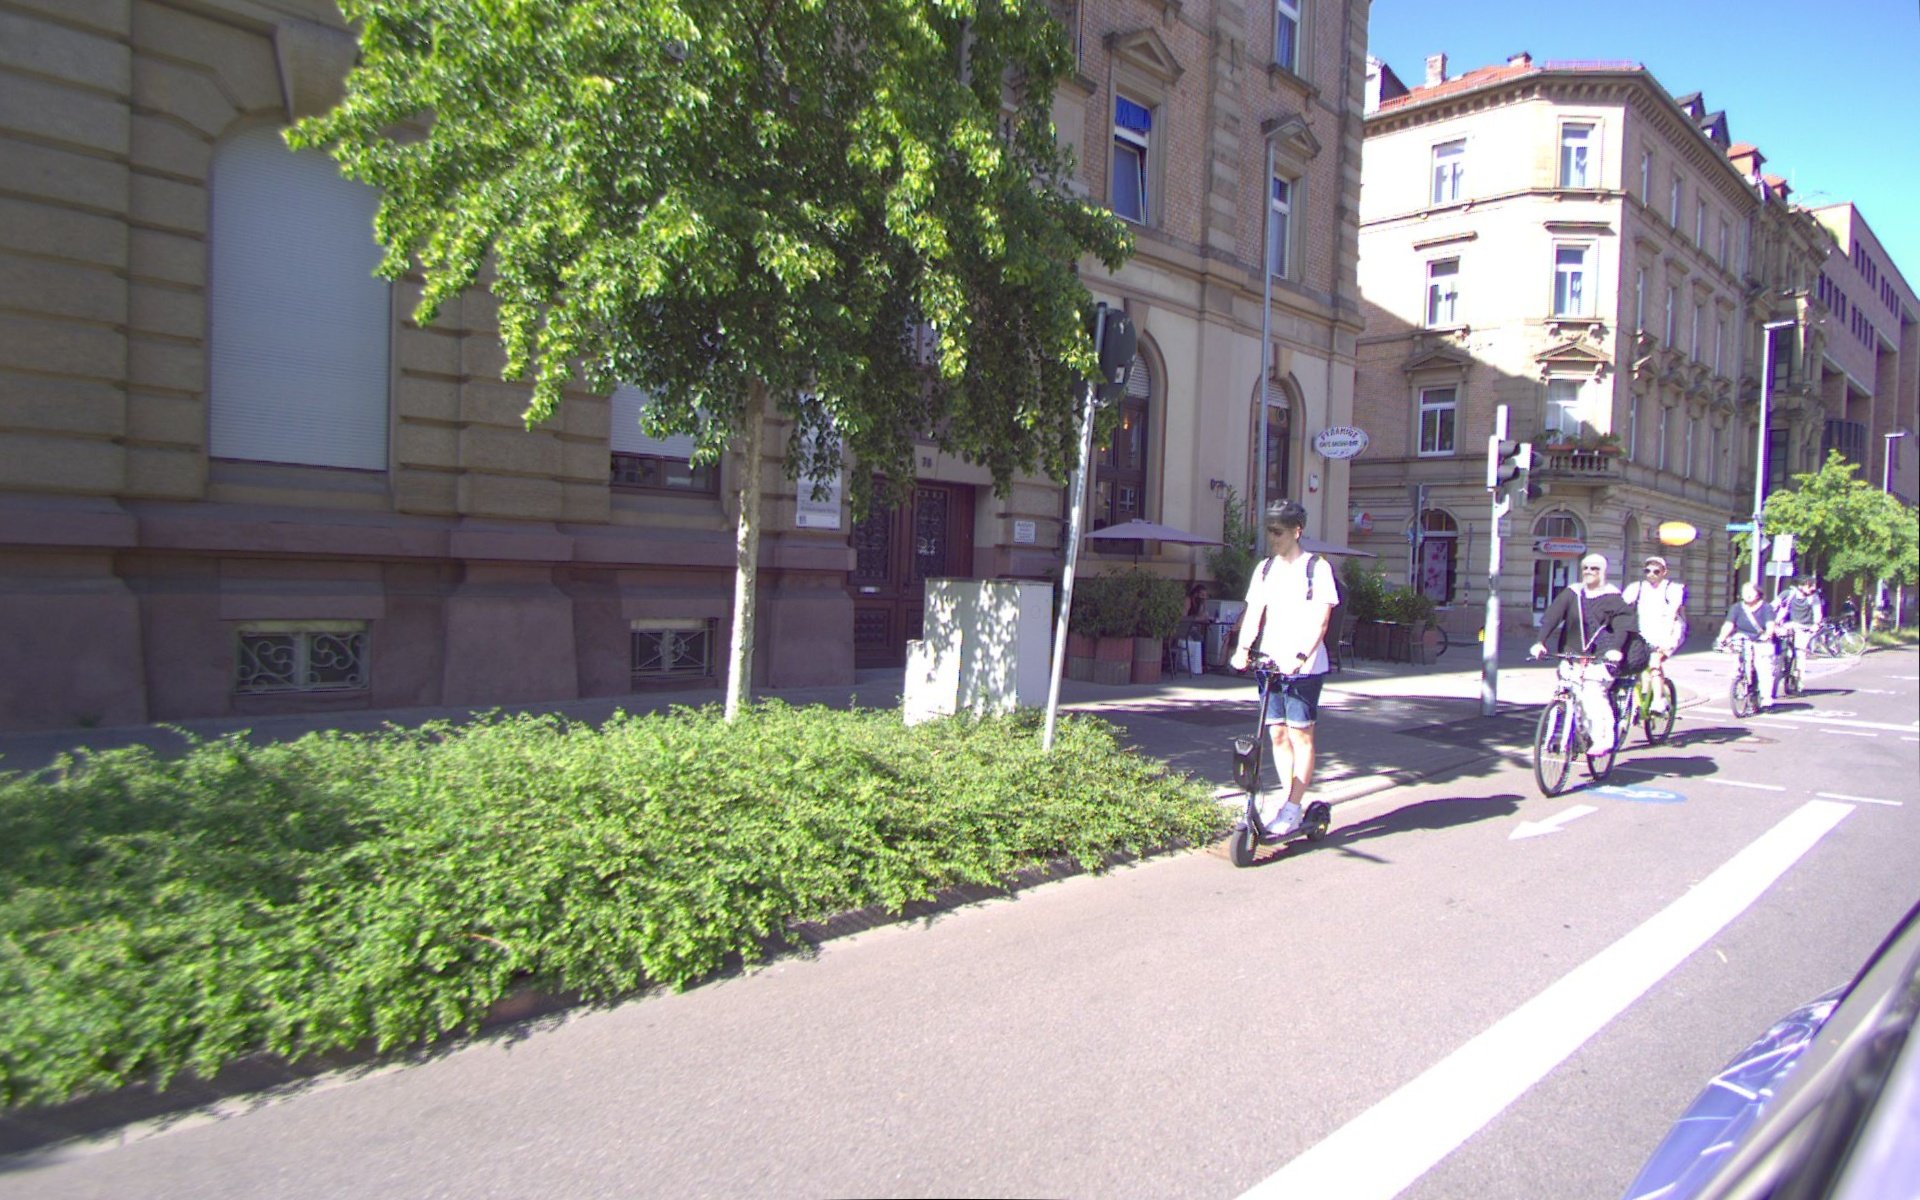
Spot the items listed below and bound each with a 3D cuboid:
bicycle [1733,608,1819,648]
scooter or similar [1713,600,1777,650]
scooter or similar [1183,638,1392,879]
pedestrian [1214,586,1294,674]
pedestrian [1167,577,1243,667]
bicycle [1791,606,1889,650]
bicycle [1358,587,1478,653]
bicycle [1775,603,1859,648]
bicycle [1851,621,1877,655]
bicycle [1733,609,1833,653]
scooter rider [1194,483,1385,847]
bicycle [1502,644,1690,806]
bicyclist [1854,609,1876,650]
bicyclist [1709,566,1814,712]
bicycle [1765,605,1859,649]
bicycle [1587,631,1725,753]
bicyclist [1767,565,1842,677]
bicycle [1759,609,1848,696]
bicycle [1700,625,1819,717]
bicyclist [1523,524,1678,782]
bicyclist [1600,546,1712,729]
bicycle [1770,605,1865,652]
[{"bbox_3d":[21.872,0.740,27.156,0.488,0.936,1.717,0,3,-40],"label":"bicycle"},{"bbox_3d":[20.126,0.623,25.955,0.479,1.212,1.197,1,2,-44],"label":"scooter or similar"},{"bbox_3d":[1.891,0.834,5.796,1.130,1.172,0.646,0,1,-42],"label":"scooter or similar"},{"bbox_3d":[4.238,0.414,14.597,0.866,1.197,0.719,0,3,-41],"label":"pedestrian"},{"bbox_3d":[3.706,0.312,15.302,0.872,1.298,0.727,0,2,-41],"label":"pedestrian"},{"bbox_3d":[26.399,0.821,30.386,0.833,1.054,2.062,0,6,-41],"label":"bicycle"},{"bbox_3d":[9.900,0.412,21.971,0.801,1.247,2.221,5,0,-34],"label":"bicycle"},{"bbox_3d":[25.160,0.730,29.718,1.115,1.074,1.677,0,6,-42],"label":"bicycle"},{"bbox_3d":[37.263,1.558,41.701,2.062,1.268,0.578,-1,3,-43],"label":"bicycle"},{"bbox_3d":[21.567,0.793,26.554,0.580,0.922,1.911,0,4,-31],"label":"bicycle"},{"bbox_3d":[1.892,0.329,5.795,0.882,1.890,0.662,1,0,-42],"label":"scooter rider"},{"bbox_3d":[4.959,0.898,7.837,1.918,1.019,0.724,0,1,-42],"label":"bicycle"},{"bbox_3d":[37.285,1.212,41.694,0.781,1.637,0.578,0,2,-43],"label":"bicyclist"},{"bbox_3d":[10.116,0.460,12.767,0.971,1.748,0.853,1,0,-40],"label":"bicyclist"},{"bbox_3d":[24.343,0.756,28.940,1.013,1.042,1.901,0,5,-43],"label":"bicycle"},{"bbox_3d":[6.880,0.852,9.968,1.919,1.019,0.724,0,1,-43],"label":"bicycle"},{"bbox_3d":[12.757,0.301,15.283,0.879,1.625,0.725,1,0,-40],"label":"bicyclist"},{"bbox_3d":[12.752,0.749,15.282,1.918,1.209,0.724,0,1,-41],"label":"bicycle"},{"bbox_3d":[10.103,0.850,12.764,1.918,1.019,0.829,0,1,-41],"label":"bicycle"},{"bbox_3d":[4.967,0.372,7.835,1.072,1.840,0.724,1,0,-41],"label":"bicyclist"},{"bbox_3d":[6.786,0.333,9.858,0.961,1.677,0.699,1,0,-44],"label":"bicyclist"},{"bbox_3d":[23.448,0.755,27.697,0.598,1.061,1.873,0,5,-44],"label":"bicycle"}]
